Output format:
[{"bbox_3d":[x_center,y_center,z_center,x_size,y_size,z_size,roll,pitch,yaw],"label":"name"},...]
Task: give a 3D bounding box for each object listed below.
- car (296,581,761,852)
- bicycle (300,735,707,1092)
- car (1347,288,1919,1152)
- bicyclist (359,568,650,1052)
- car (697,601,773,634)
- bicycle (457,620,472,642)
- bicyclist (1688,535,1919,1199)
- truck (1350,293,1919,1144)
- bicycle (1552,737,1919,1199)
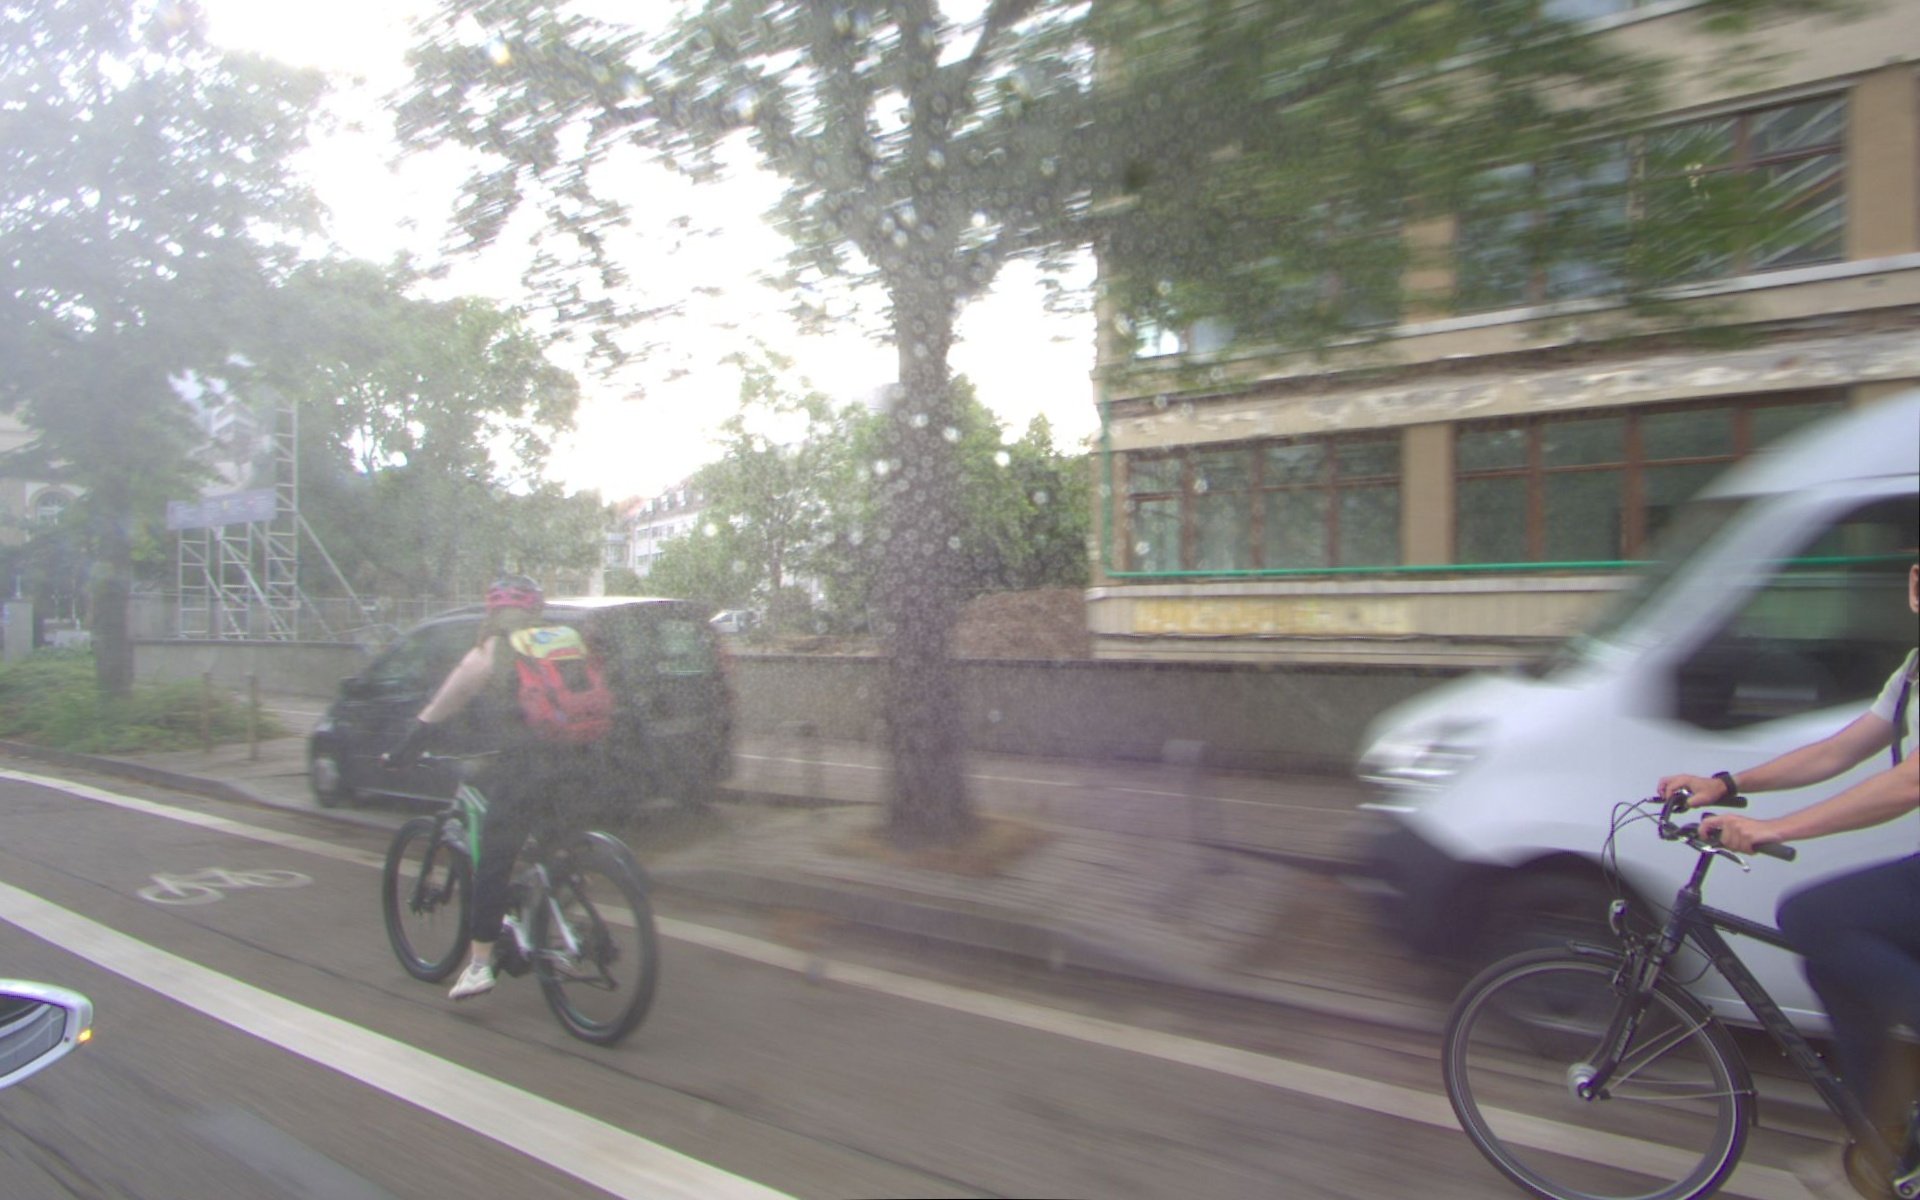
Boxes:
[{"bbox_3d":[-3.772,0.850,8.565,4.025,1.835,1.651,-1,-2,32],"label":"car"},{"bbox_3d":[-1.916,1.127,4.045,2.029,0.992,0.488,0,-2,34],"label":"bicycle"},{"bbox_3d":[4.362,0.387,3.437,5.410,2.636,2.110,0,-1,30],"label":"car"},{"bbox_3d":[-1.774,0.717,3.906,0.907,1.631,0.656,0,0,33],"label":"bicyclist"},{"bbox_3d":[-14.165,1.146,63.171,4.297,2.039,1.842,1,-2,-36],"label":"car"},{"bbox_3d":[-25.728,1.595,52.034,0.609,1.134,2.213,0,-1,-24],"label":"bicycle"},{"bbox_3d":[2.295,0.670,2.278,0.971,1.590,0.661,0,-1,31],"label":"bicyclist"},{"bbox_3d":[4.395,0.390,3.495,5.410,2.636,2.110,0,-1,30],"label":"truck"},{"bbox_3d":[2.384,0.957,2.214,1.839,1.131,0.663,0,-2,32],"label":"bicycle"}]
